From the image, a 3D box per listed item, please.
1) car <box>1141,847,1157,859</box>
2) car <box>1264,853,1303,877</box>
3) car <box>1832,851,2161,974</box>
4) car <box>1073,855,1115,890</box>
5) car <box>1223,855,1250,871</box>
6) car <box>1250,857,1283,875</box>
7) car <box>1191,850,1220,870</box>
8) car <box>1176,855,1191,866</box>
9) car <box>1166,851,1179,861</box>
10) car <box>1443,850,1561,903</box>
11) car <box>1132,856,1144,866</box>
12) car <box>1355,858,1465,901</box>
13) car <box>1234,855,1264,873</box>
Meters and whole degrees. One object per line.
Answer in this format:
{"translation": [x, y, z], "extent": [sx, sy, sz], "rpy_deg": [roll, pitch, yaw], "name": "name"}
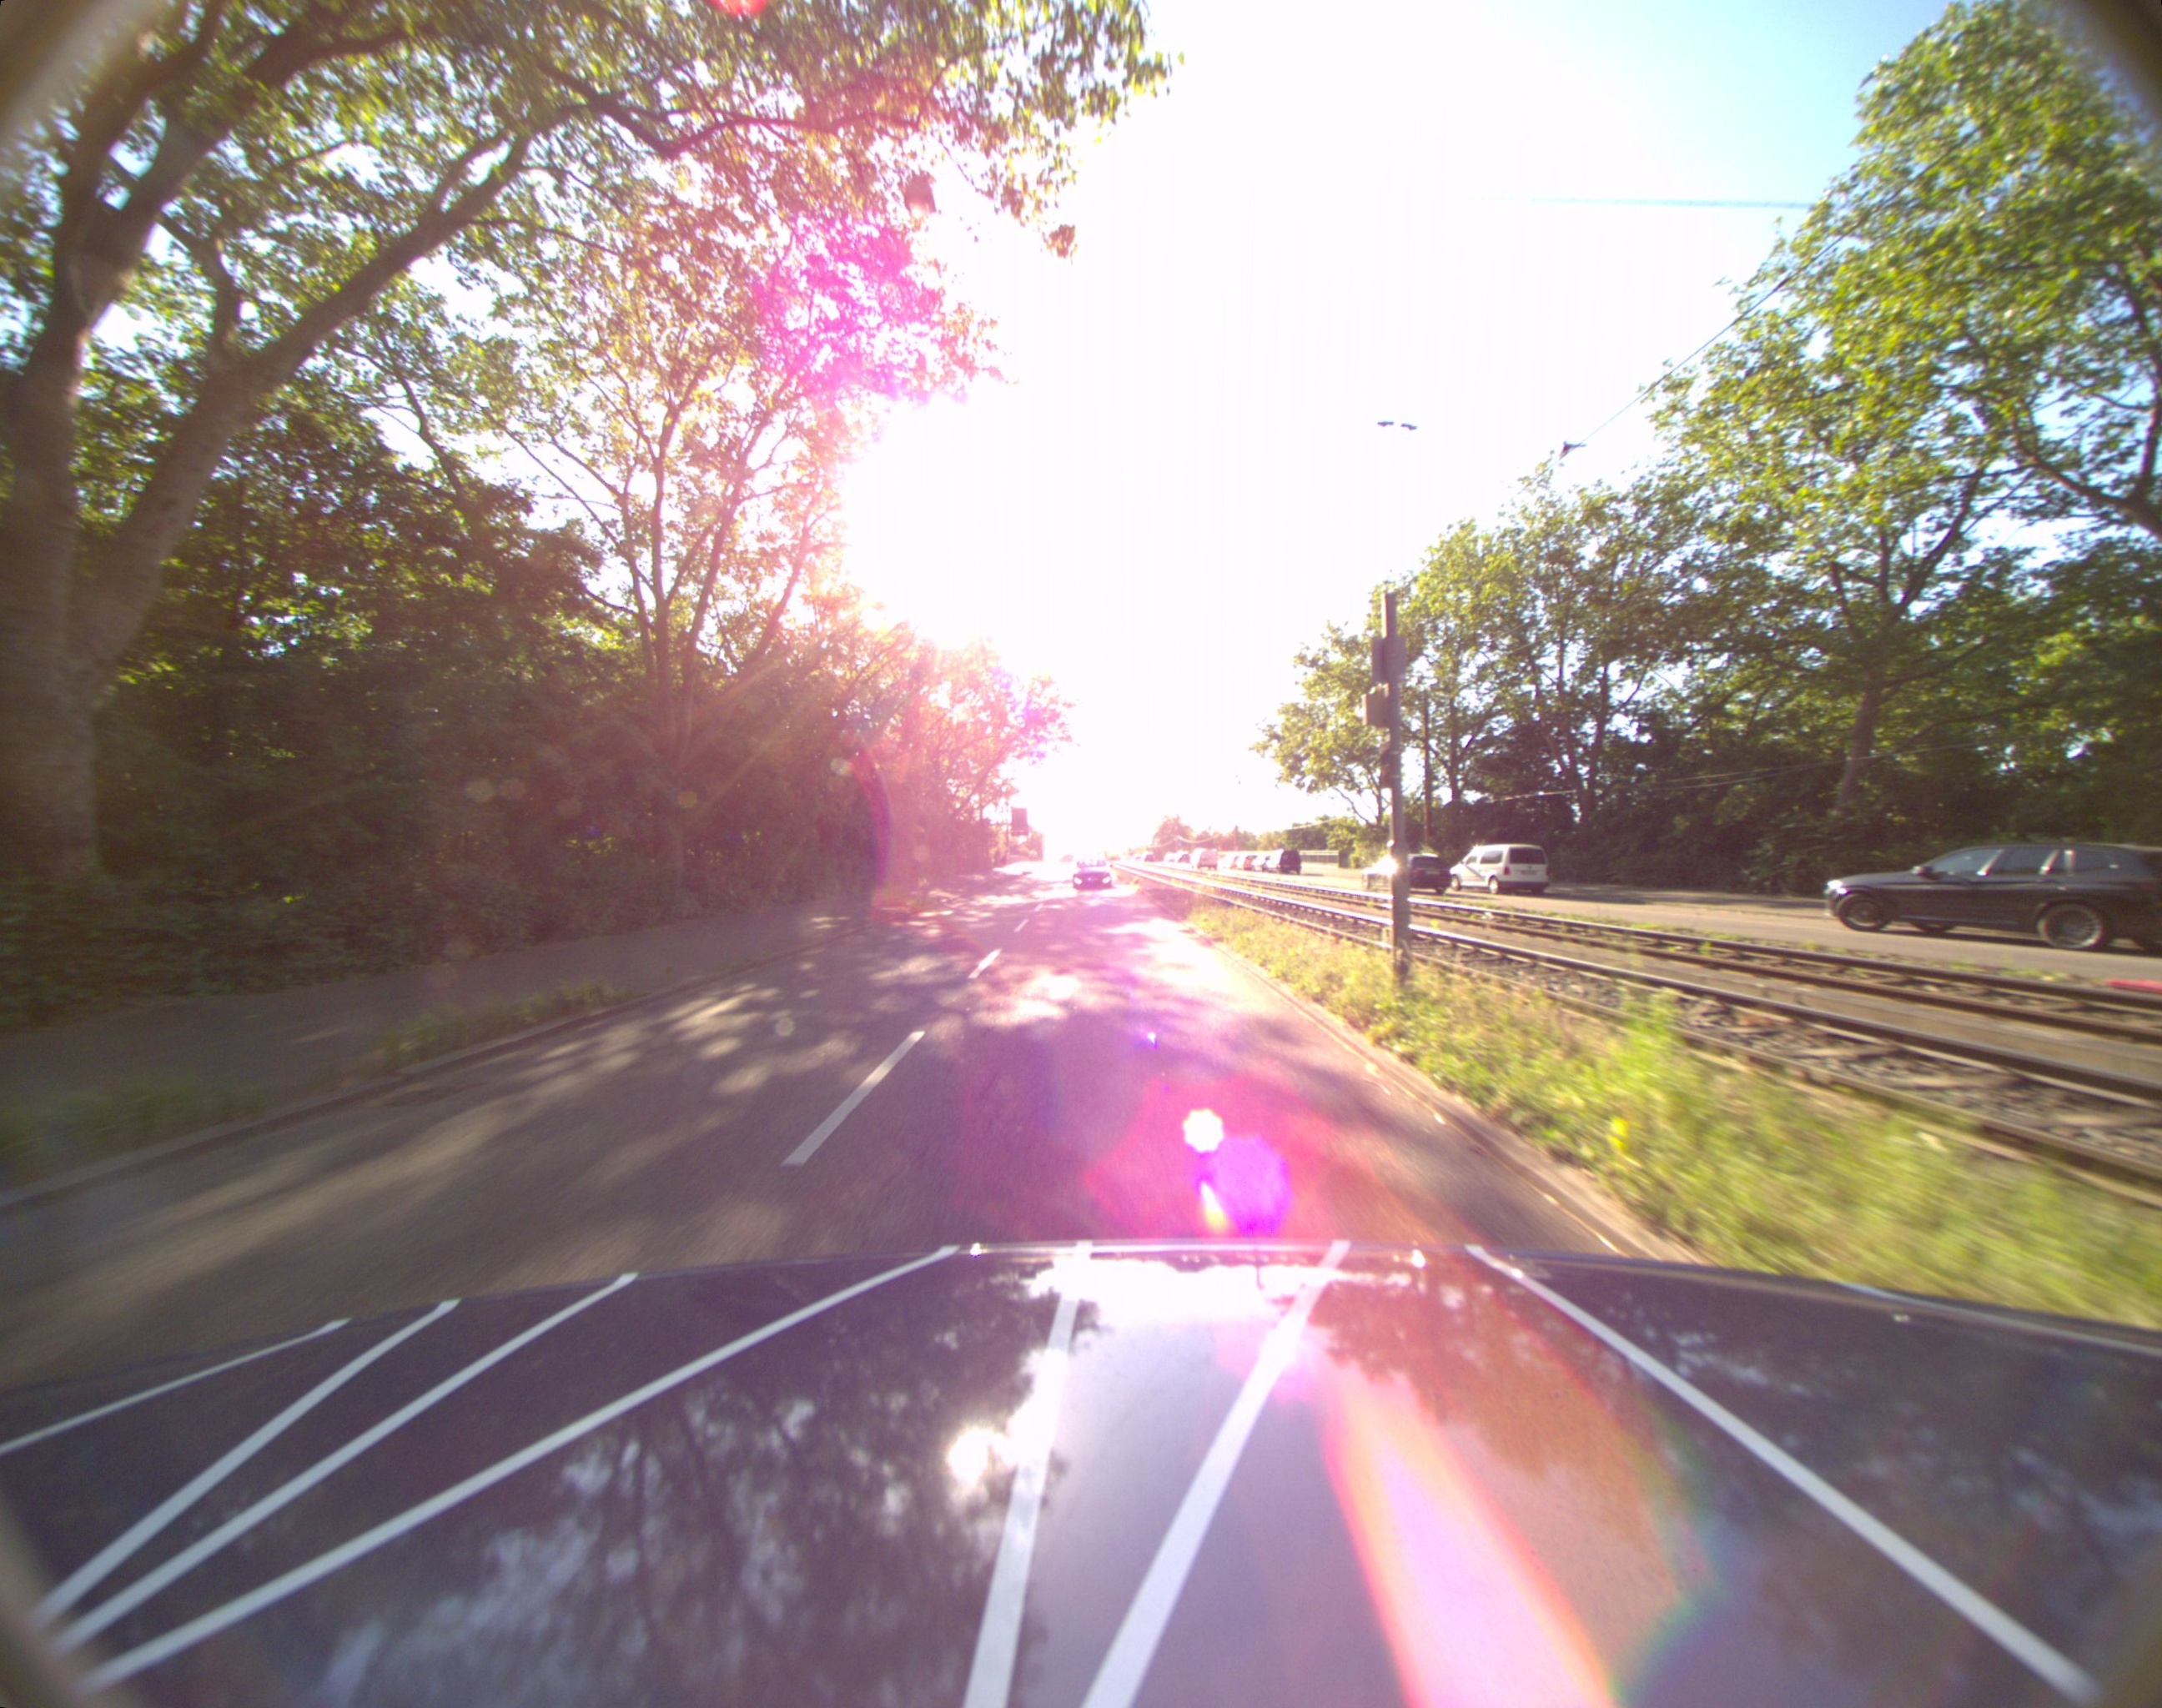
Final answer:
{"translation": [11.163, -0.136, 124.991], "extent": [1.988, 1.841, 4.961], "rpy_deg": [1, 0, -1], "name": "car"}
{"translation": [15.091, 0.776, 56.808], "extent": [1.735, 1.730, 3.899], "rpy_deg": [1, 0, -3], "name": "car"}
{"translation": [15.750, 0.815, 12.662], "extent": [1.833, 1.709, 4.391], "rpy_deg": [0, 0, -7], "name": "car"}
{"translation": [0.548, 0.839, 35.894], "extent": [1.799, 1.501, 4.000], "rpy_deg": [-2, 0, -1], "name": "car"}
{"translation": [14.905, 0.849, 73.131], "extent": [1.659, 1.491, 3.924], "rpy_deg": [1, 0, -3], "name": "car"}
{"translation": [15.150, 0.950, 62.246], "extent": [1.659, 1.434, 3.784], "rpy_deg": [1, 0, -3], "name": "car"}
{"translation": [11.793, 0.567, 72.213], "extent": [1.832, 1.841, 5.035], "rpy_deg": [1, 0, -1], "name": "car"}
{"translation": [14.788, 0.968, 109.651], "extent": [1.658, 1.491, 3.925], "rpy_deg": [1, 0, 0], "name": "car"}
{"translation": [14.534, 0.321, 120.987], "extent": [1.658, 1.491, 3.924], "rpy_deg": [1, 0, 0], "name": "car"}
{"translation": [15.680, 0.785, 28.602], "extent": [1.832, 1.830, 4.393], "rpy_deg": [1, 0, -3], "name": "car"}
{"translation": [11.160, 1.411, 149.555], "extent": [1.988, 1.841, 4.961], "rpy_deg": [1, 0, -1], "name": "car"}
{"translation": [12.261, 0.890, 28.695], "extent": [1.925, 1.407, 4.748], "rpy_deg": [1, 0, -2], "name": "car"}
{"translation": [14.935, 0.870, 67.729], "extent": [1.658, 1.434, 3.784], "rpy_deg": [1, 0, -2], "name": "car"}
